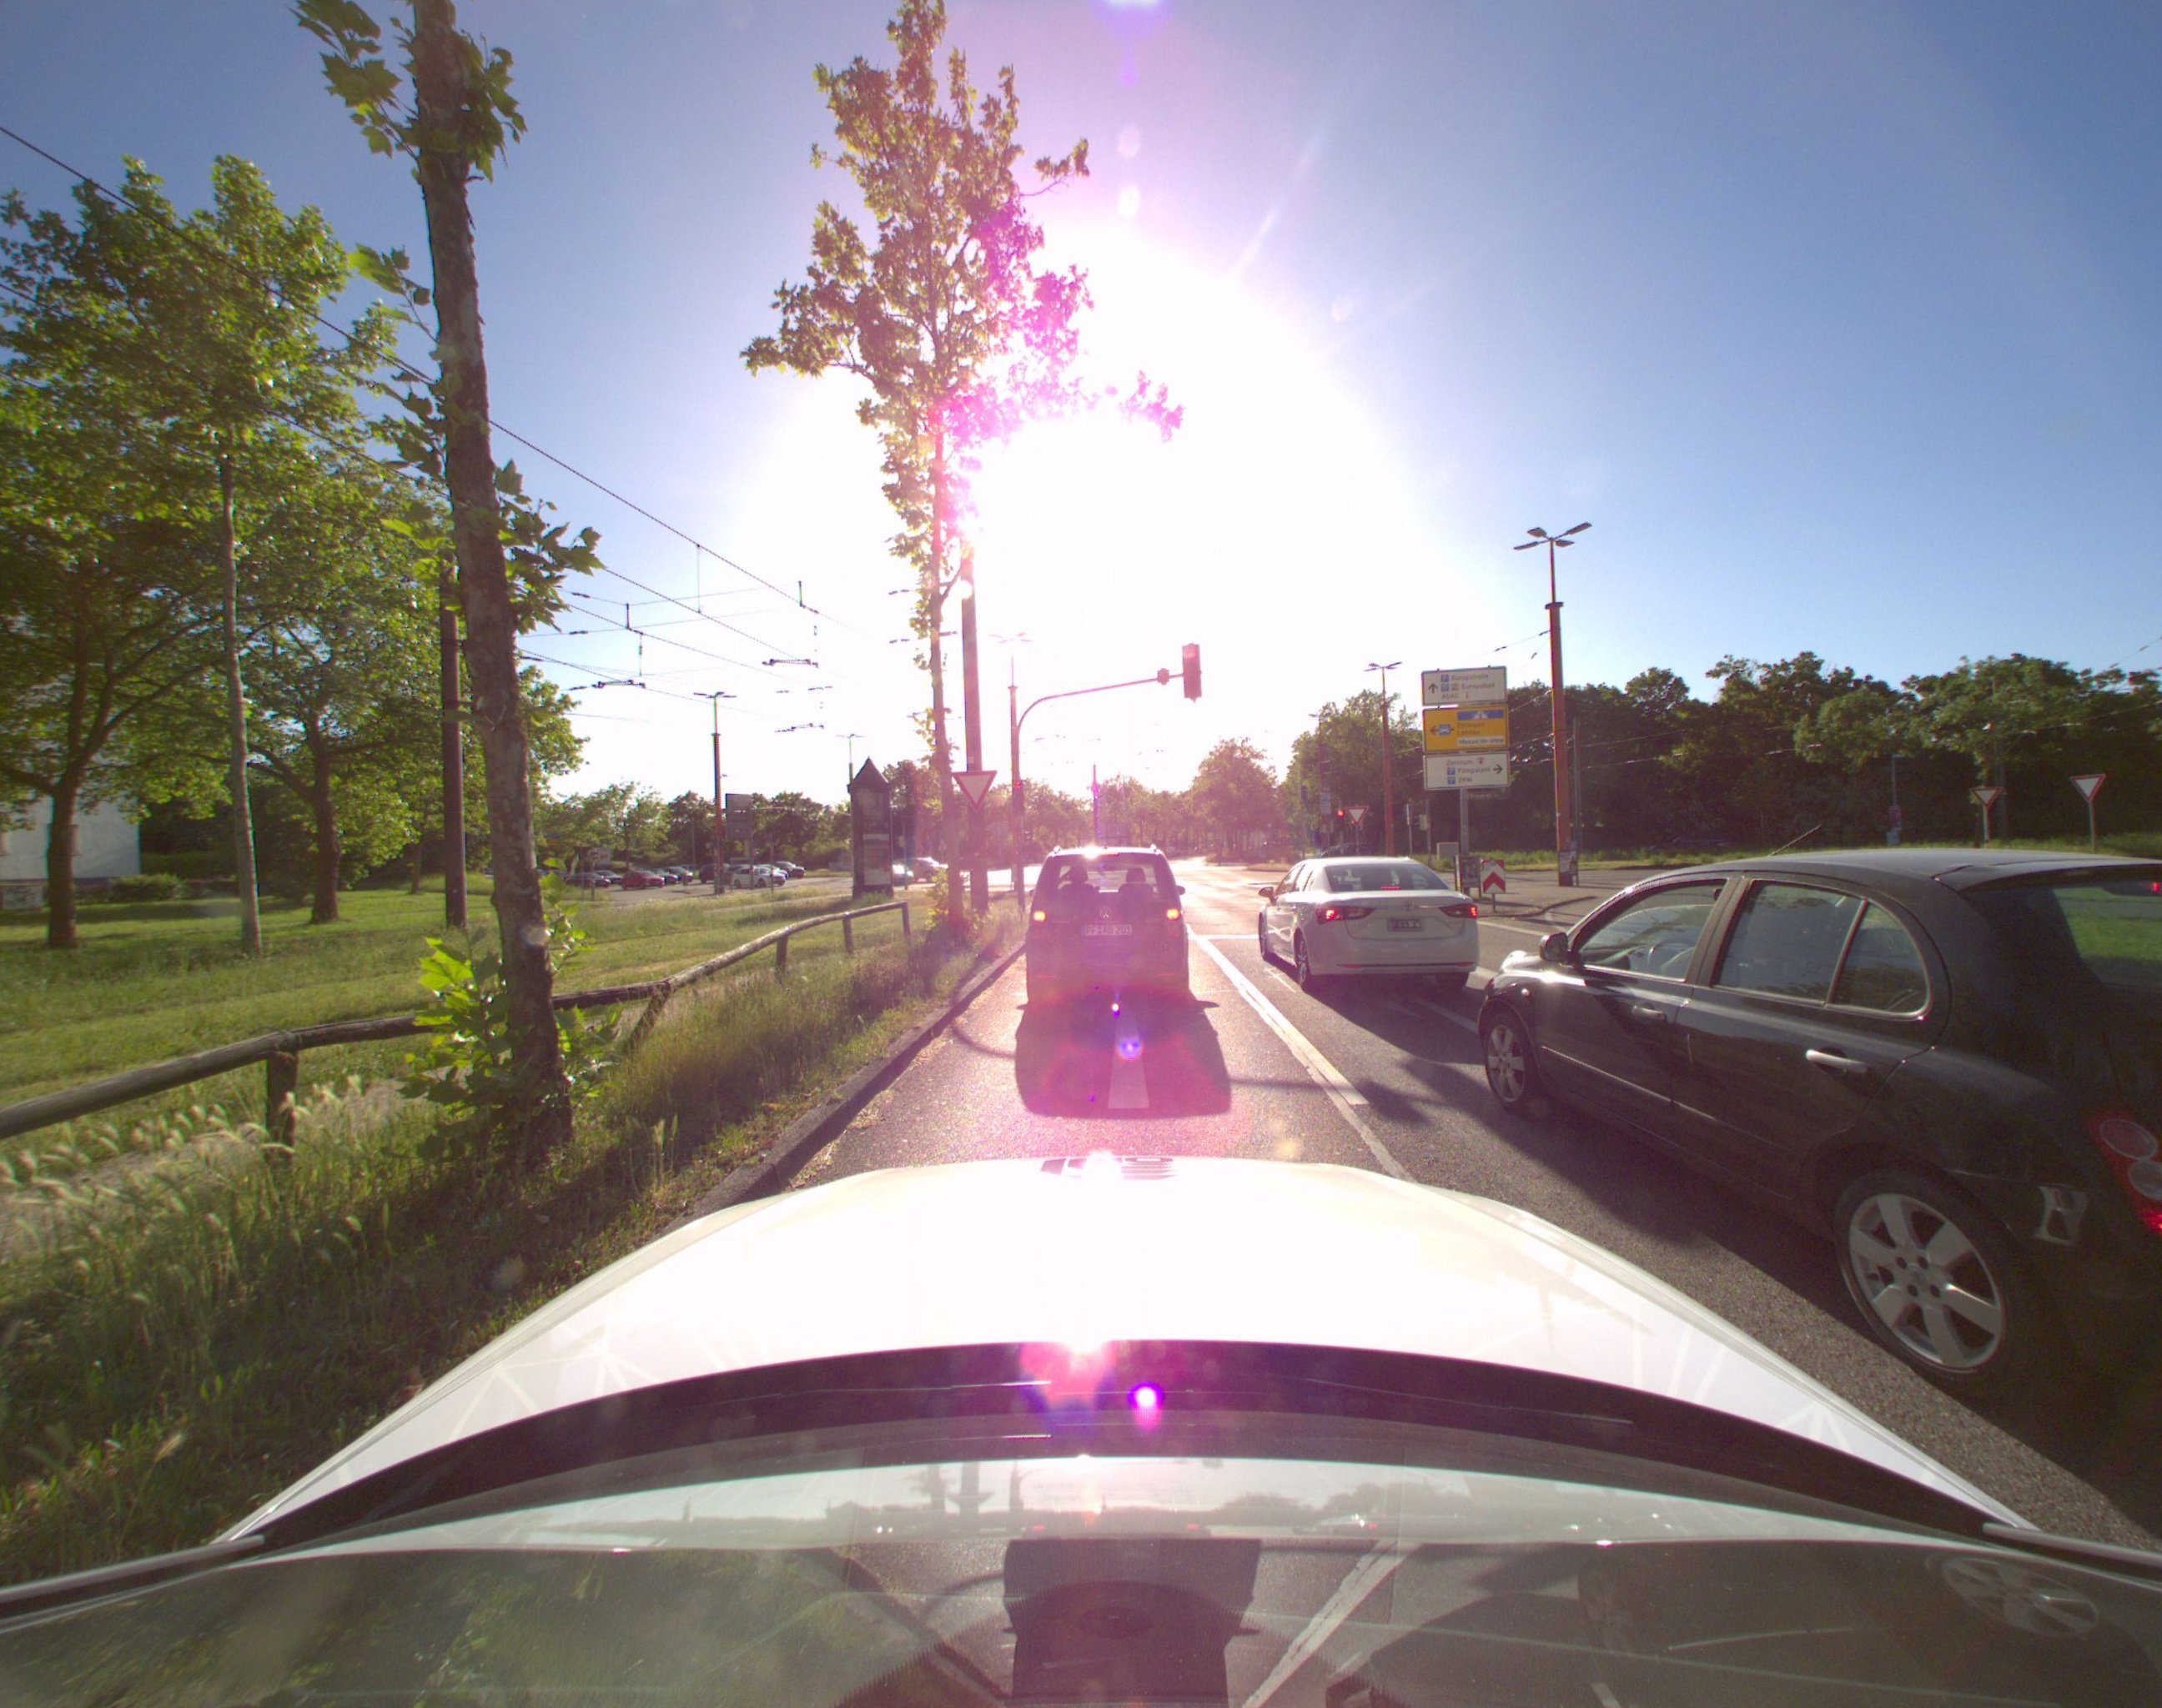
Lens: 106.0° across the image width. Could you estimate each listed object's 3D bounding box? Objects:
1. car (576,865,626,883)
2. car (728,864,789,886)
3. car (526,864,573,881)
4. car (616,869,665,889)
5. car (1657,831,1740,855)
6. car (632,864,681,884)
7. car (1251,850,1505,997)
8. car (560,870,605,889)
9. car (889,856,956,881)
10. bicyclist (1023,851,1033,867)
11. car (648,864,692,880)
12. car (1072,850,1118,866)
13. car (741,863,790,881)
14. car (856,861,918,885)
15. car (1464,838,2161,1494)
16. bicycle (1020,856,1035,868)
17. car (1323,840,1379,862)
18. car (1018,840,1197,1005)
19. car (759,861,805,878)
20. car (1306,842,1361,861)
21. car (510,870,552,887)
[{"bbox_3d":[-44.744,1.852,75.977,4.585,1.647,1.767,-1,0,26],"label":"car"},{"bbox_3d":[-23.587,1.559,59.518,4.577,1.520,1.667,-1,0,32],"label":"car"},{"bbox_3d":[-52.186,1.820,79.909,4.585,1.647,1.767,-1,0,26],"label":"car"},{"bbox_3d":[-35.835,2.019,66.261,4.145,1.520,1.667,-1,0,32],"label":"car"},{"bbox_3d":[40.318,-0.709,53.284,4.095,1.510,1.667,-1,0,30],"label":"car"},{"bbox_3d":[-37.456,1.737,71.820,4.583,1.647,1.767,-1,0,32],"label":"car"},{"bbox_3d":[3.373,0.705,10.194,1.792,1.440,4.329,0,0,3],"label":"car"},{"bbox_3d":[-43.370,2.190,70.848,4.145,1.520,1.667,-1,0,32],"label":"car"},{"bbox_3d":[-11.057,0.998,56.642,4.583,1.647,1.667,-1,0,32],"label":"car"},{"bbox_3d":[-6.552,0.591,100.329,0.969,1.904,1.055,-2,0,14],"label":"bicyclist"},{"bbox_3d":[-38.196,1.667,75.713,4.102,1.415,1.553,-1,0,28],"label":"car"},{"bbox_3d":[1.315,0.372,75.544,3.877,1.457,1.667,-1,0,28],"label":"car"},{"bbox_3d":[-26.832,1.521,69.194,4.102,1.415,1.553,-1,0,28],"label":"car"},{"bbox_3d":[-12.628,1.231,53.064,3.793,1.441,1.667,-1,0,29],"label":"car"},{"bbox_3d":[3.180,0.692,3.496,1.570,1.440,3.443,0,-1,2],"label":"car"},{"bbox_3d":[-6.551,1.000,100.286,0.969,1.388,2.991,-2,0,15],"label":"bicycle"},{"bbox_3d":[20.257,-0.214,61.094,3.757,1.510,1.666,-1,0,25],"label":"car"},{"bbox_3d":[0.366,0.686,10.089,1.731,1.602,4.329,0,-1,3],"label":"car"},{"bbox_3d":[-26.729,1.380,72.818,4.102,1.415,1.553,-1,0,28],"label":"car"},{"bbox_3d":[20.157,-0.195,65.047,3.877,1.457,1.667,-1,0,28],"label":"car"},{"bbox_3d":[-50.968,2.242,75.442,4.145,1.520,1.667,-1,0,32],"label":"car"}]
